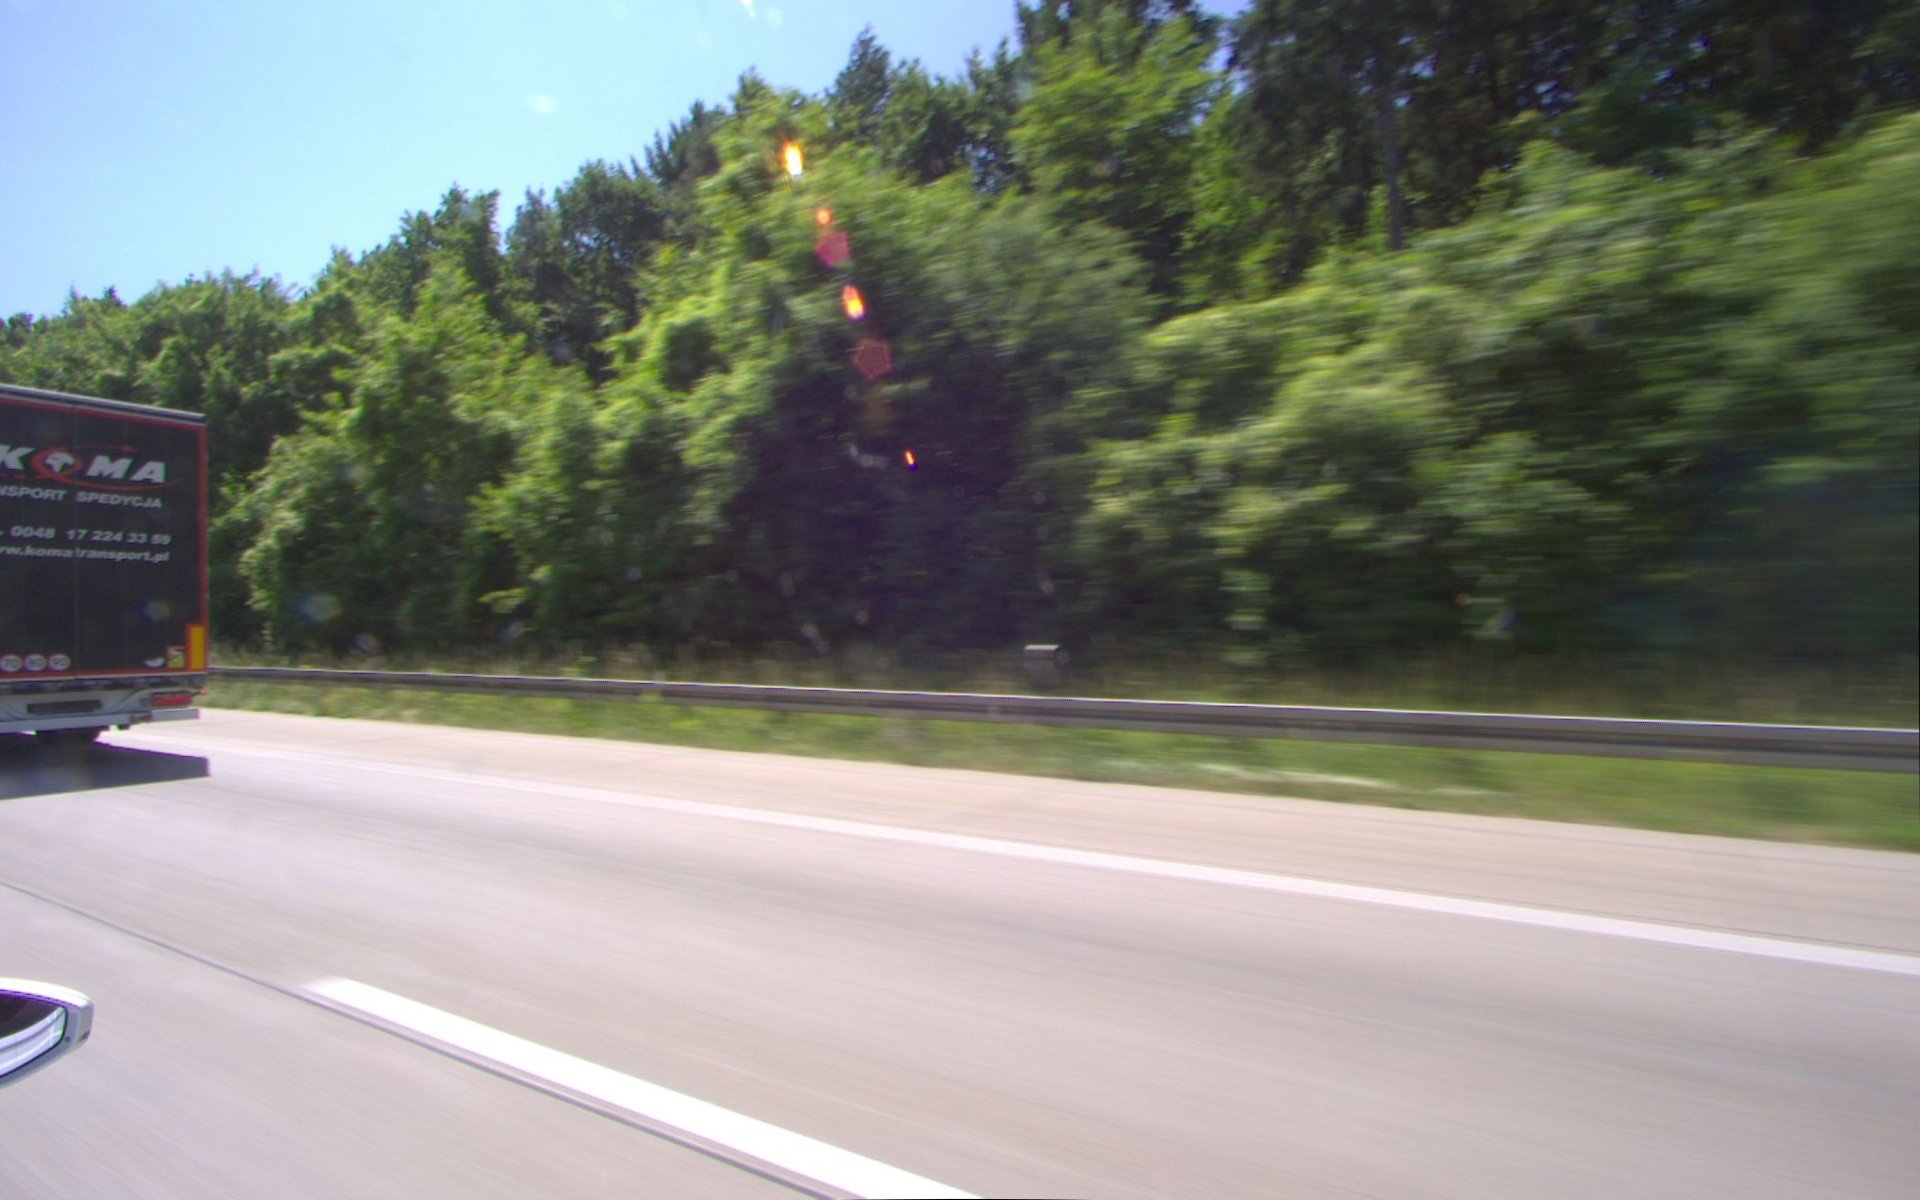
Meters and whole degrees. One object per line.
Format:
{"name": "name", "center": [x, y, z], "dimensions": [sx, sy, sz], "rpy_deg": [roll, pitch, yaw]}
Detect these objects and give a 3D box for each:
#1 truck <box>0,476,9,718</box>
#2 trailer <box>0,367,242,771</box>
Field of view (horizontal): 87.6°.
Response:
{"name": "truck", "center": [-21.248, 0.011, 18.401], "dimensions": [10.459, 4.068, 3.153], "rpy_deg": [-1, -2, 33]}
{"name": "trailer", "center": [-13.117, -0.207, 13.032], "dimensions": [8.961, 4.068, 3.129], "rpy_deg": [-1, -2, 33]}
